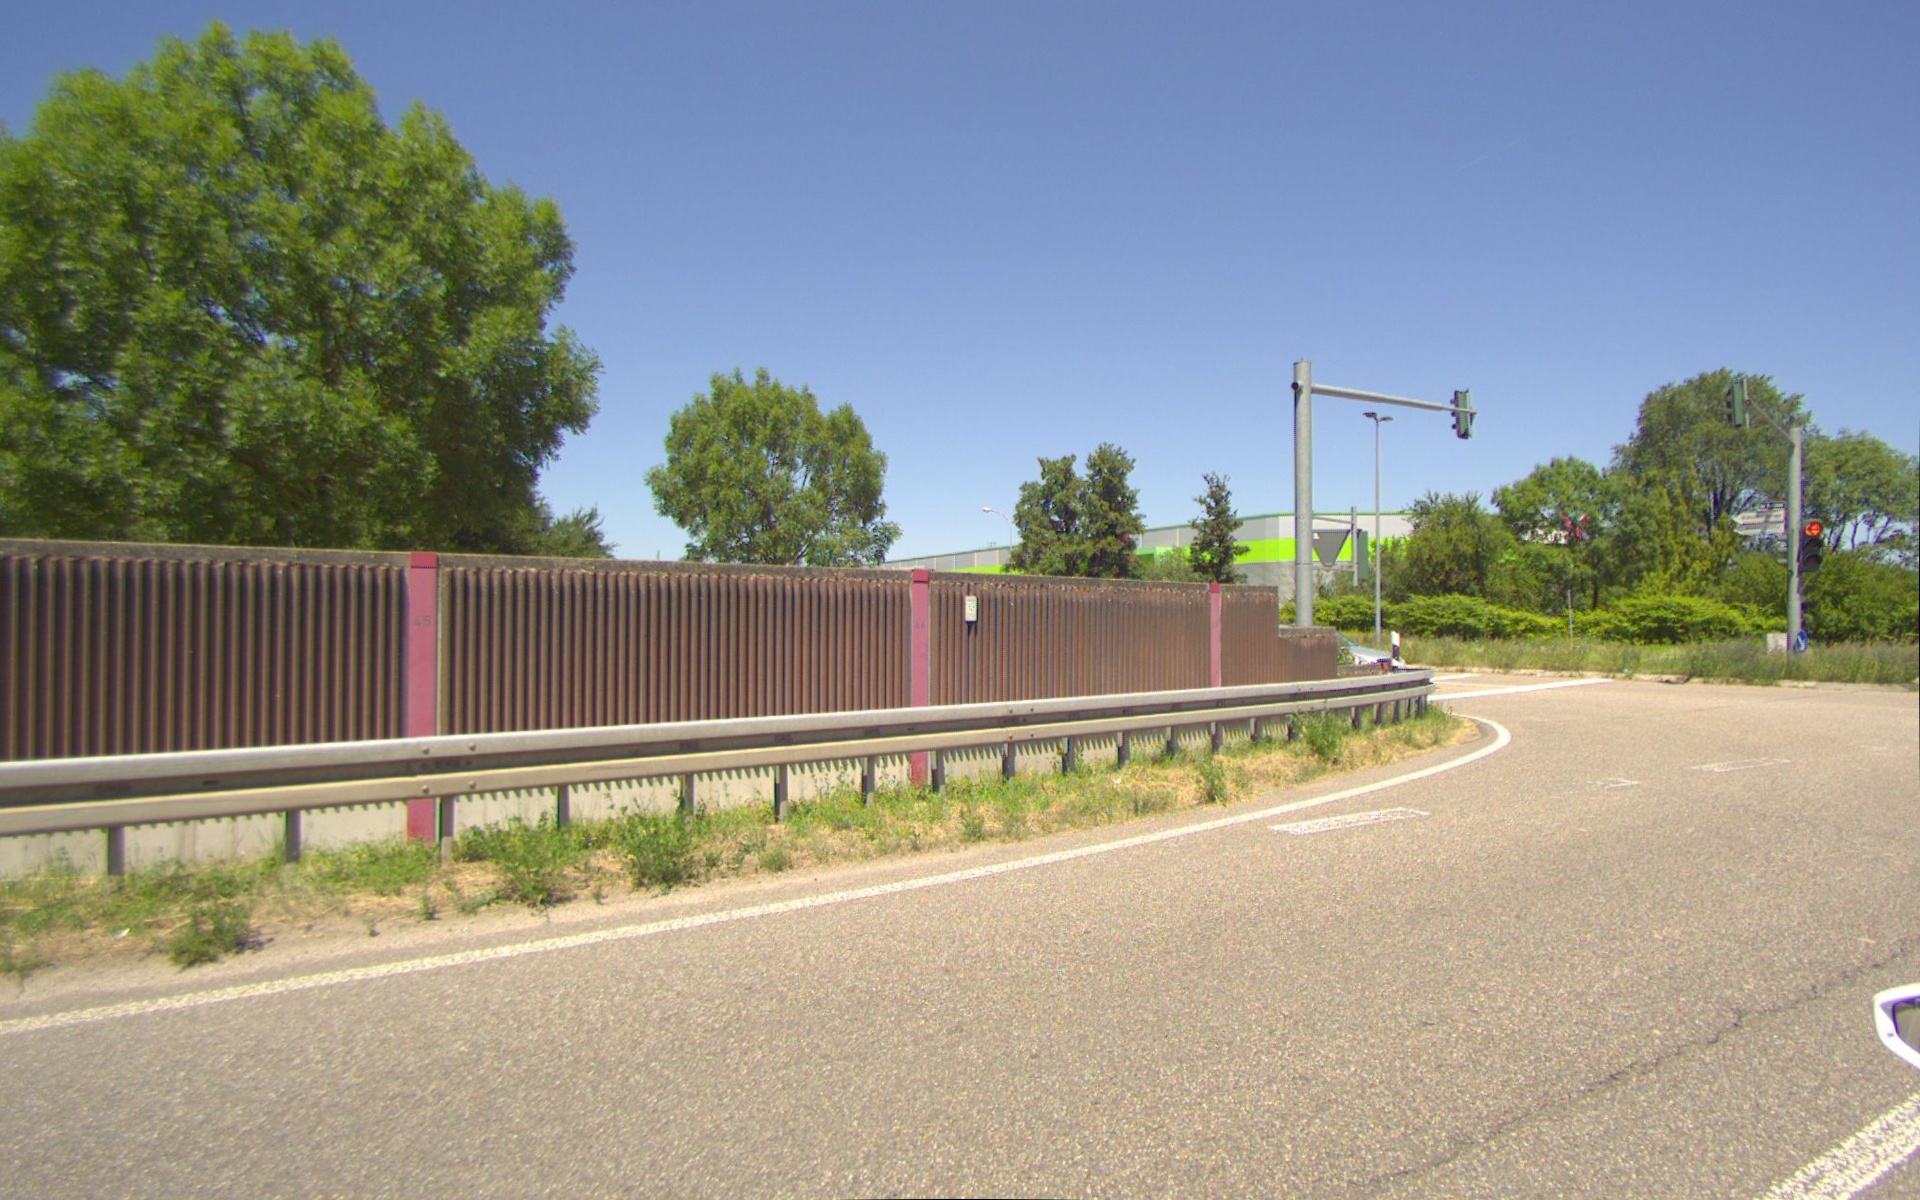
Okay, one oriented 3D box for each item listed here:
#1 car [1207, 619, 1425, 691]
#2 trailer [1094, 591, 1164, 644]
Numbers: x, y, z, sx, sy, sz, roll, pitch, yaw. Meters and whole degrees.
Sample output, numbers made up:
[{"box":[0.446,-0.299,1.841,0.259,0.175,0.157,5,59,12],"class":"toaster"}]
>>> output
[{"box":[8.394,1.239,24.192,1.856,1.476,4.929,1,-1,-31],"class":"car"},{"box":[9.334,0.951,55.323,3.682,2.801,1.828,1,-1,14],"class":"trailer"}]
